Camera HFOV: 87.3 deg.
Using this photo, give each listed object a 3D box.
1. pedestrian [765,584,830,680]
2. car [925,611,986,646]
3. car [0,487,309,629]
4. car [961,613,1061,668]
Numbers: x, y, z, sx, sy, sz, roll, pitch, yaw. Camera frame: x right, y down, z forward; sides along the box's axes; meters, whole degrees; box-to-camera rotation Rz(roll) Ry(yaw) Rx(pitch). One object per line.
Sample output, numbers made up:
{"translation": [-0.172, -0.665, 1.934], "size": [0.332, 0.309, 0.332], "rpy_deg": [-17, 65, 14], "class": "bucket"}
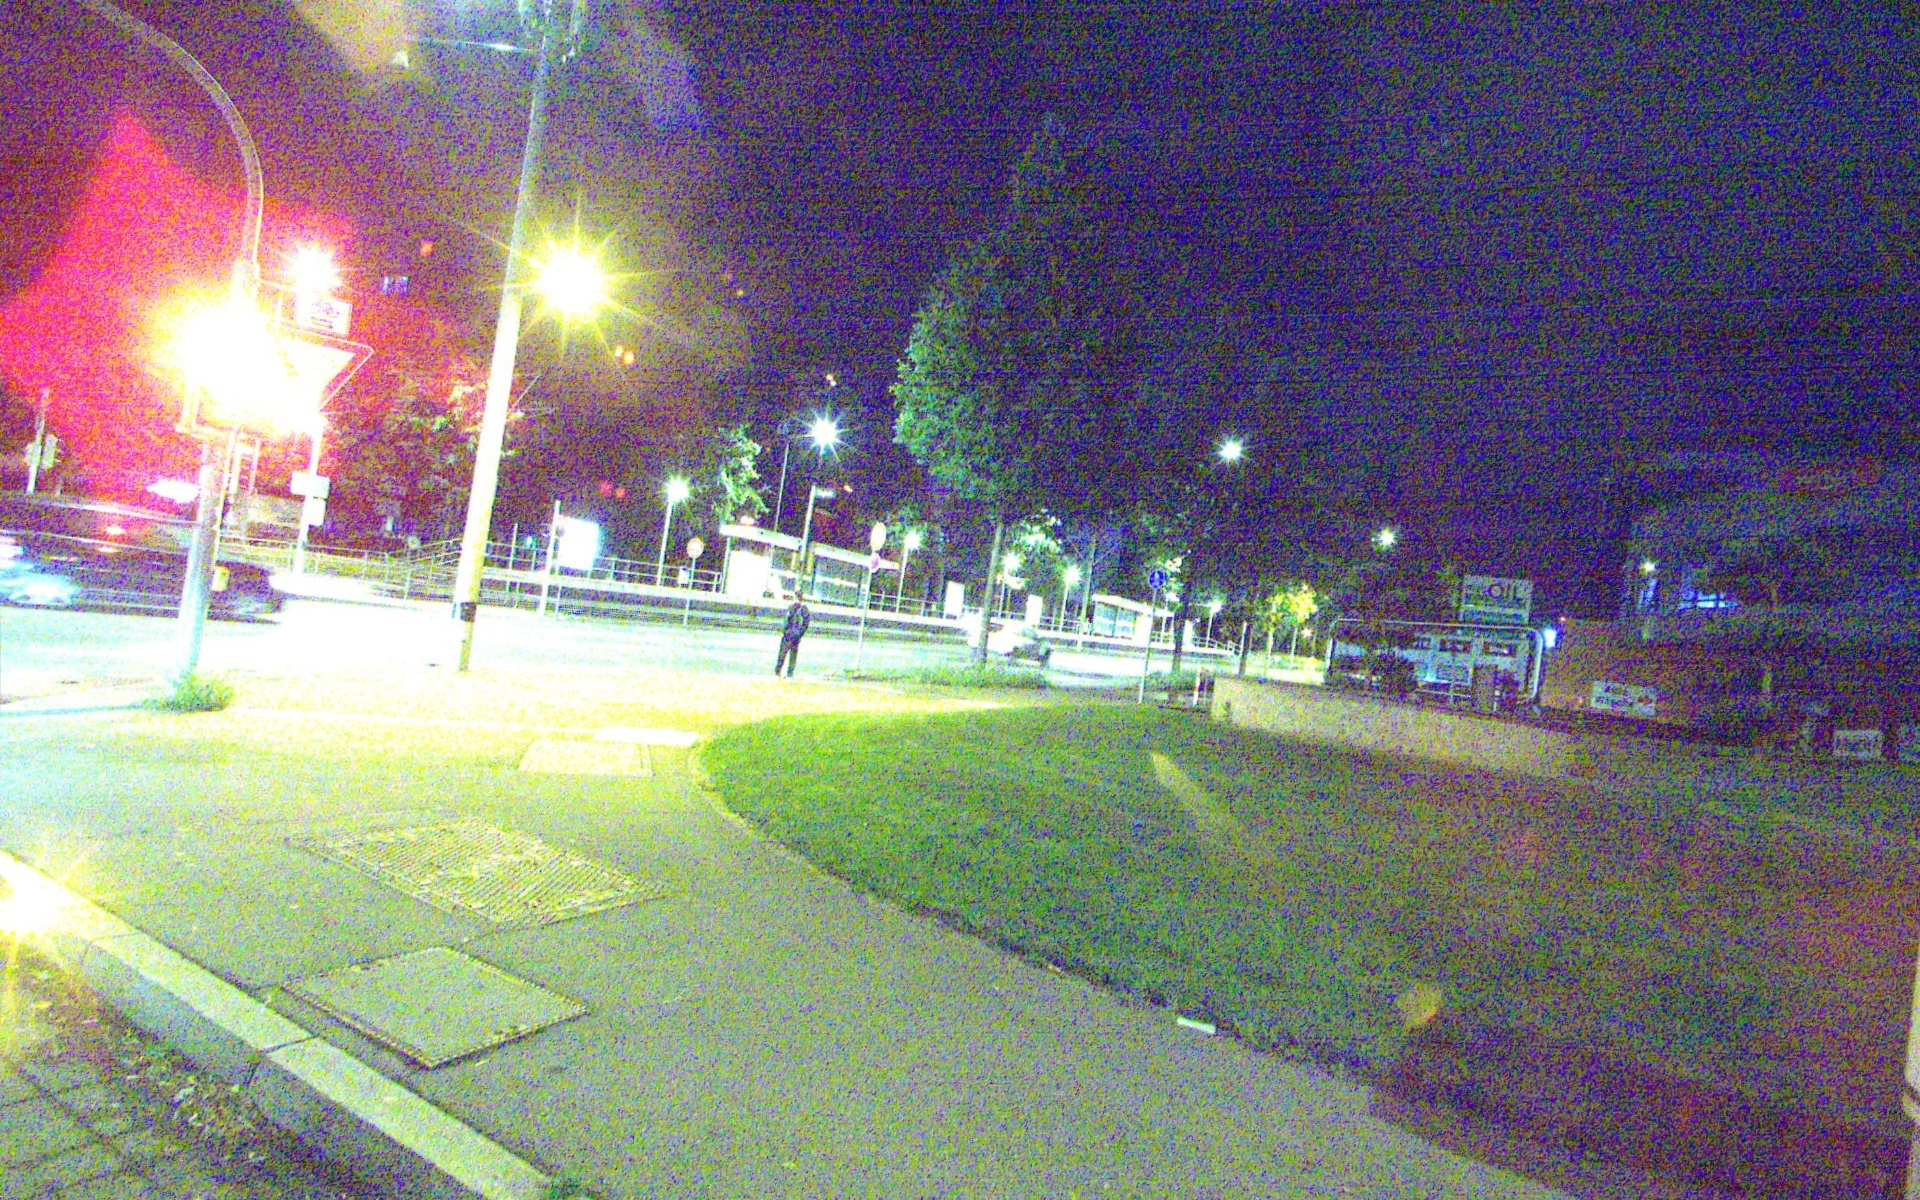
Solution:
{"translation": [-3.155, 0.625, 19.539], "size": [0.820, 1.767, 0.755], "rpy_deg": [5, 1, 31], "class": "pedestrian"}
{"translation": [-0.268, 1.899, 67.315], "size": [1.970, 2.039, 3.985], "rpy_deg": [6, 0, 36], "class": "car"}
{"translation": [-13.207, -0.643, 15.973], "size": [1.781, 1.670, 4.348], "rpy_deg": [8, -1, 34], "class": "car"}
{"translation": [2.070, 1.630, 39.287], "size": [1.844, 1.703, 4.288], "rpy_deg": [9, 0, 32], "class": "car"}
